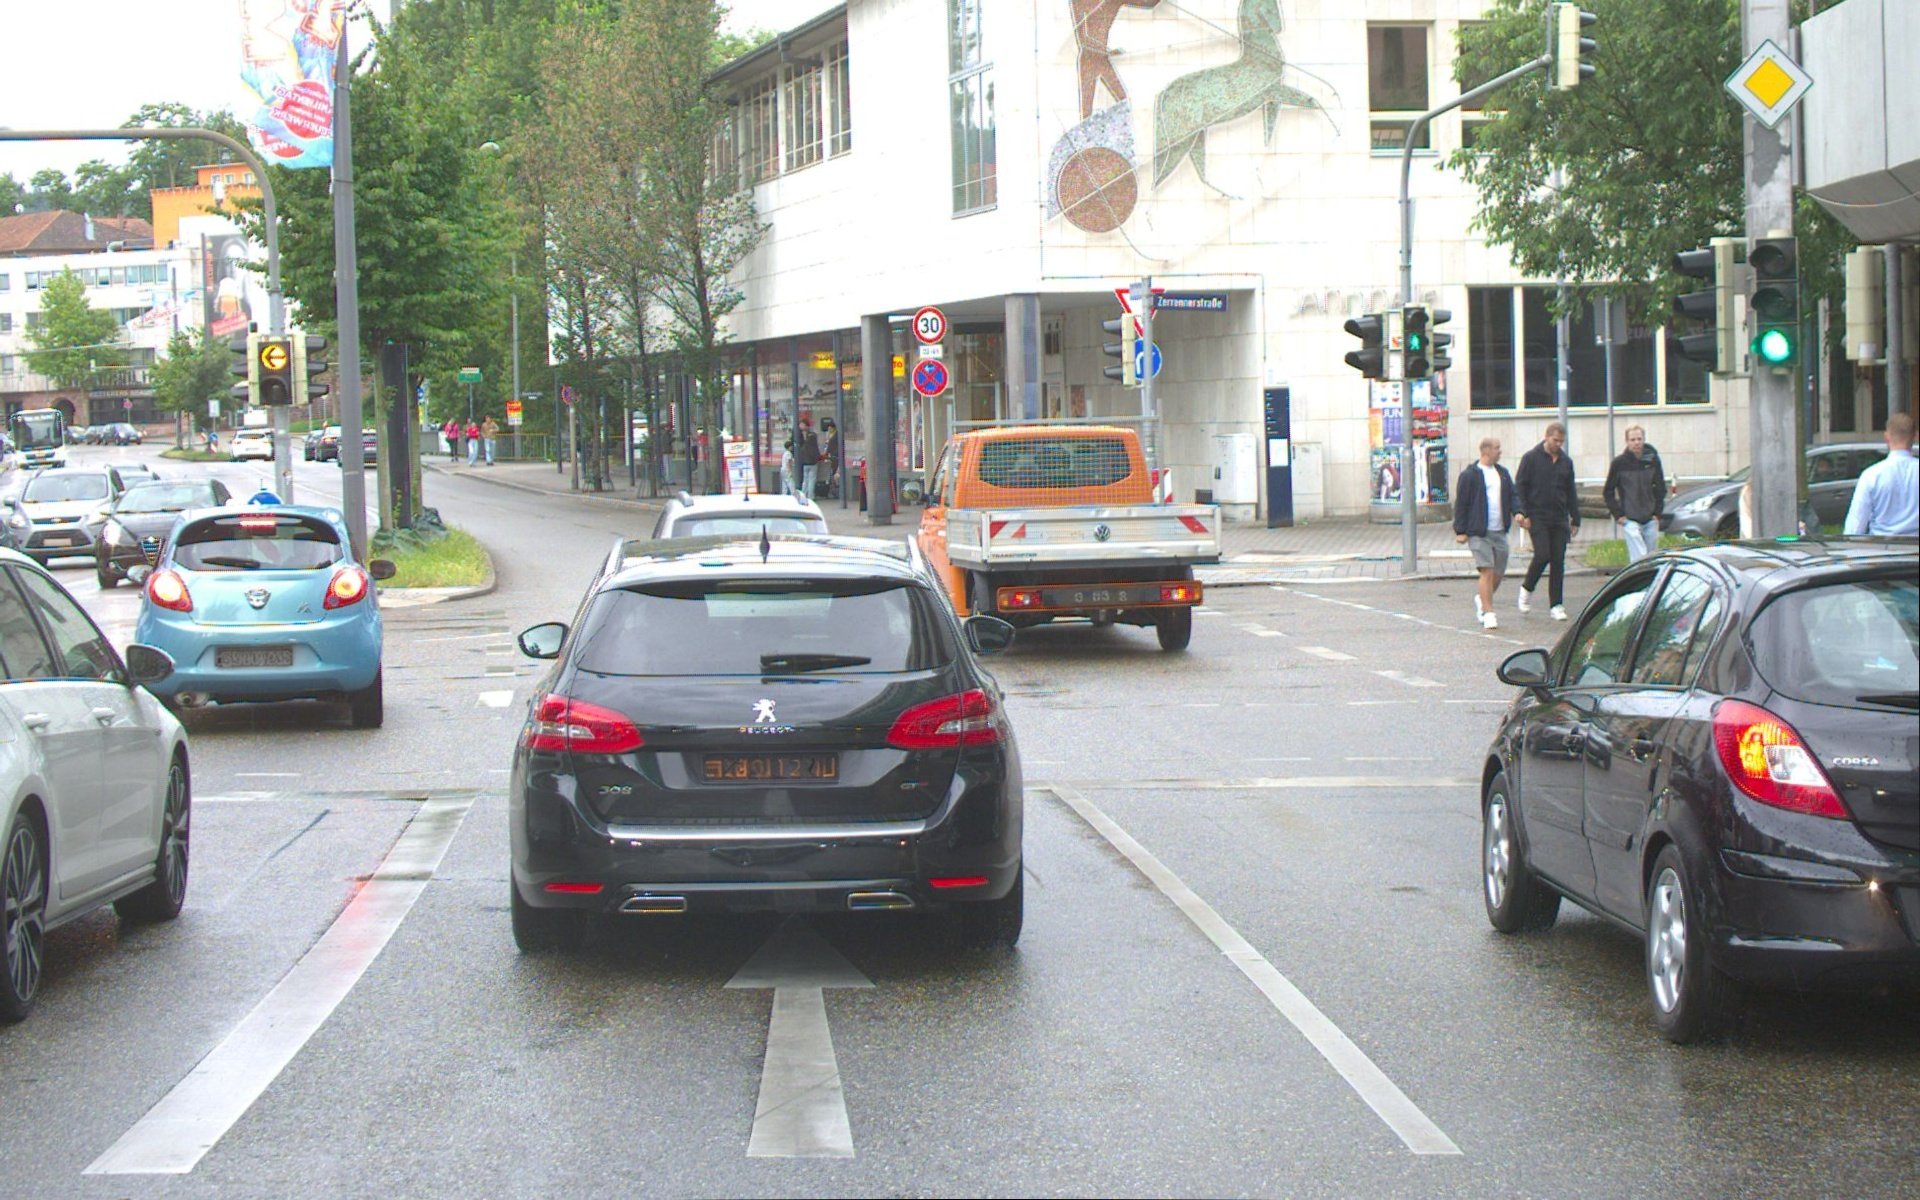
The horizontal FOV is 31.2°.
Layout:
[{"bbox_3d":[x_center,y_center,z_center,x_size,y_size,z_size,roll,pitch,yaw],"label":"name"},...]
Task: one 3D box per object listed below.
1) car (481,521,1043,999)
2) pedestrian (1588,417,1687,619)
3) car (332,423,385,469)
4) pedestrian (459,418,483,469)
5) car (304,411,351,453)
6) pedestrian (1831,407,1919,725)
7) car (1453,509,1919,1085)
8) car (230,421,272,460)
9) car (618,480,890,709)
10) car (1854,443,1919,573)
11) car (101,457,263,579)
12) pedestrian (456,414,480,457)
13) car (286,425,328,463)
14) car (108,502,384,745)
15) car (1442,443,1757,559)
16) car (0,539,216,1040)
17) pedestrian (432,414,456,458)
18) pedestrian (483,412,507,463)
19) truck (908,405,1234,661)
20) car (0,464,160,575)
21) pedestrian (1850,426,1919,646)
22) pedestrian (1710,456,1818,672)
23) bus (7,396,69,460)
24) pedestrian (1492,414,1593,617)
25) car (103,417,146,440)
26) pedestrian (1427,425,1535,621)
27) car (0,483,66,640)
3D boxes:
[{"bbox_3d":[-0.652,0.468,13.005,1.795,1.478,4.001,0,2,-1],"label":"car"},{"bbox_3d":[6.441,-0.780,32.704,0.732,1.889,0.676,-2,1,-3],"label":"pedestrian"},{"bbox_3d":[-22.546,-5.741,128.809,1.644,1.559,3.601,1,0,-15],"label":"car"},{"bbox_3d":[-17.503,-5.607,123.032,0.653,1.761,0.923,-4,4,-15],"label":"pedestrian"},{"bbox_3d":[-26.362,-6.988,143.262,1.644,1.559,3.601,1,0,-15],"label":"car"},{"bbox_3d":[5.572,-0.203,20.393,0.622,1.840,0.847,-1,1,4],"label":"pedestrian"},{"bbox_3d":[2.787,0.479,11.090,1.708,1.452,3.743,0,3,-2],"label":"car"},{"bbox_3d":[-31.627,-7.116,153.304,1.644,1.559,3.601,1,0,-15],"label":"car"},{"bbox_3d":[-1.630,-0.107,25.951,1.794,1.478,4.001,-2,3,-6],"label":"car"},{"bbox_3d":[12.540,-1.106,39.076,4.258,1.415,1.788,-2,3,-15],"label":"car"},{"bbox_3d":[-10.791,-1.178,47.886,1.622,1.550,3.660,-2,3,-4],"label":"car"},{"bbox_3d":[-18.469,-6.179,129.056,0.725,1.583,0.607,-4,4,-15],"label":"pedestrian"},{"bbox_3d":[-29.792,-7.107,156.781,1.644,1.559,3.601,1,0,-15],"label":"car"},{"bbox_3d":[-4.889,0.097,23.918,1.695,1.469,3.692,-2,2,-9],"label":"car"},{"bbox_3d":[8.381,-1.303,45.236,3.988,1.471,1.999,0,2,9],"label":"car"},{"bbox_3d":[-3.729,0.516,11.526,1.765,1.404,4.001,1,1,-3],"label":"car"},{"bbox_3d":[-19.359,-6.161,128.899,0.717,1.614,0.770,-4,4,-15],"label":"pedestrian"},{"bbox_3d":[-16.651,-5.823,123.155,0.698,1.795,0.607,-4,4,-15],"label":"pedestrian"},{"bbox_3d":[0.876,-0.637,30.328,2.121,2.018,4.717,-2,2,-7],"label":"truck"},{"bbox_3d":[-14.798,-1.384,57.892,1.827,1.730,4.311,-2,2,-3],"label":"car"},{"bbox_3d":[7.576,-0.529,27.514,0.588,1.700,0.971,-3,3,0],"label":"pedestrian"},{"bbox_3d":[6.402,-0.301,27.409,0.574,1.657,0.940,-3,3,0],"label":"pedestrian"},{"bbox_3d":[-48.990,-9.192,182.537,2.743,3.064,12.243,-2,5,-17],"label":"bus"},{"bbox_3d":[5.556,-0.808,32.835,0.758,1.895,0.790,-2,1,-2],"label":"pedestrian"},{"bbox_3d":[-60.710,-12.458,249.809,1.645,1.559,3.599,1,0,-39],"label":"car"},{"bbox_3d":[4.820,-0.715,31.848,0.748,1.773,0.888,-2,1,-6],"label":"pedestrian"},{"bbox_3d":[-9.961,-0.338,33.245,1.713,1.473,3.958,-3,2,-3],"label":"car"}]
